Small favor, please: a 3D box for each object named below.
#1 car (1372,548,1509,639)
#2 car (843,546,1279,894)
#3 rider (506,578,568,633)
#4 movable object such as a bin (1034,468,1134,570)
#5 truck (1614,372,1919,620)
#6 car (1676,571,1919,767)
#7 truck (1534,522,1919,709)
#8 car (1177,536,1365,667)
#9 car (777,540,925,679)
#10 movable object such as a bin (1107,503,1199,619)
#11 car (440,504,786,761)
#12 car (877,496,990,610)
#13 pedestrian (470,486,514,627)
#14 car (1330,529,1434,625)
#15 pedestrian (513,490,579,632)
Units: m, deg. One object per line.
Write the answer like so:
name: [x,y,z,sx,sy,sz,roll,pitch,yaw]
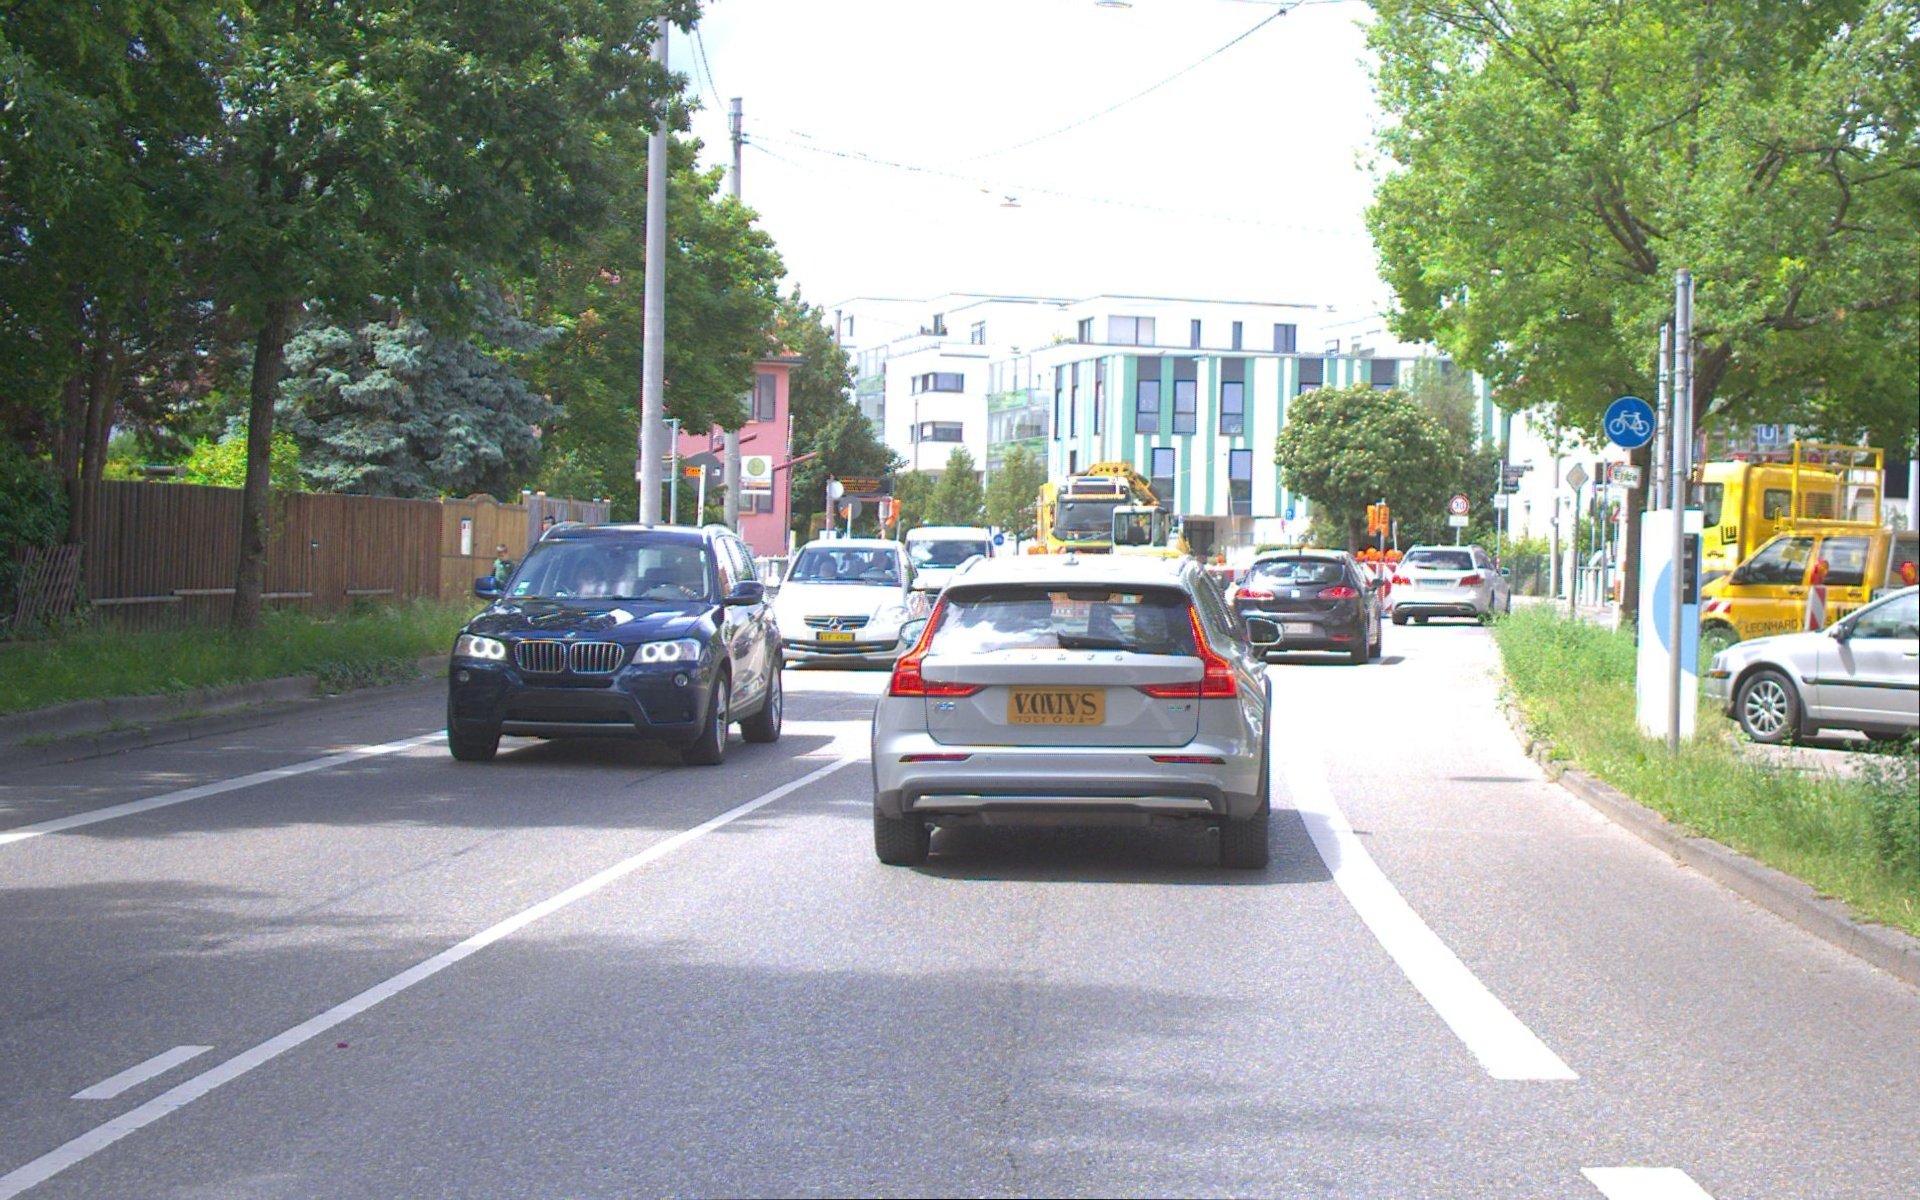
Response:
car: [8.971,-0.106,64.461,2.102,1.505,3.999,4,0,3]
car: [0.554,0.510,17.221,1.928,1.535,4.000,0,0,3]
rider: [-6.064,0.085,49.308,0.729,0.732,0.690,4,-1,2]
movable object such as a bin: [3.755,-2.468,105.482,2.310,2.980,6.428,1,1,-4]
truck: [12.060,-1.295,44.201,2.762,2.998,6.704,4,0,-42]
car: [8.155,0.597,27.338,1.763,1.447,4.688,2,1,-39]
truck: [9.927,0.183,42.222,1.994,2.007,5.676,4,0,-38]
car: [3.959,0.019,44.279,1.661,1.503,3.703,4,0,-5]
car: [-1.309,0.125,42.742,1.708,1.612,4.000,1,0,0]
movable object such as a bin: [4.628,-0.937,81.984,2.035,2.634,5.939,1,1,4]
car: [-2.387,0.193,24.701,1.880,1.681,4.247,0,1,3]
car: [-0.453,-0.828,63.640,1.848,1.869,4.594,5,0,1]
pedestrian: [-6.799,-0.631,49.974,0.402,2.007,0.414,4,-1,6]
car: [9.834,-0.514,79.869,1.994,2.007,3.998,4,0,11]
pedestrian: [-6.034,-0.561,50.128,0.715,2.007,0.771,4,0,2]
